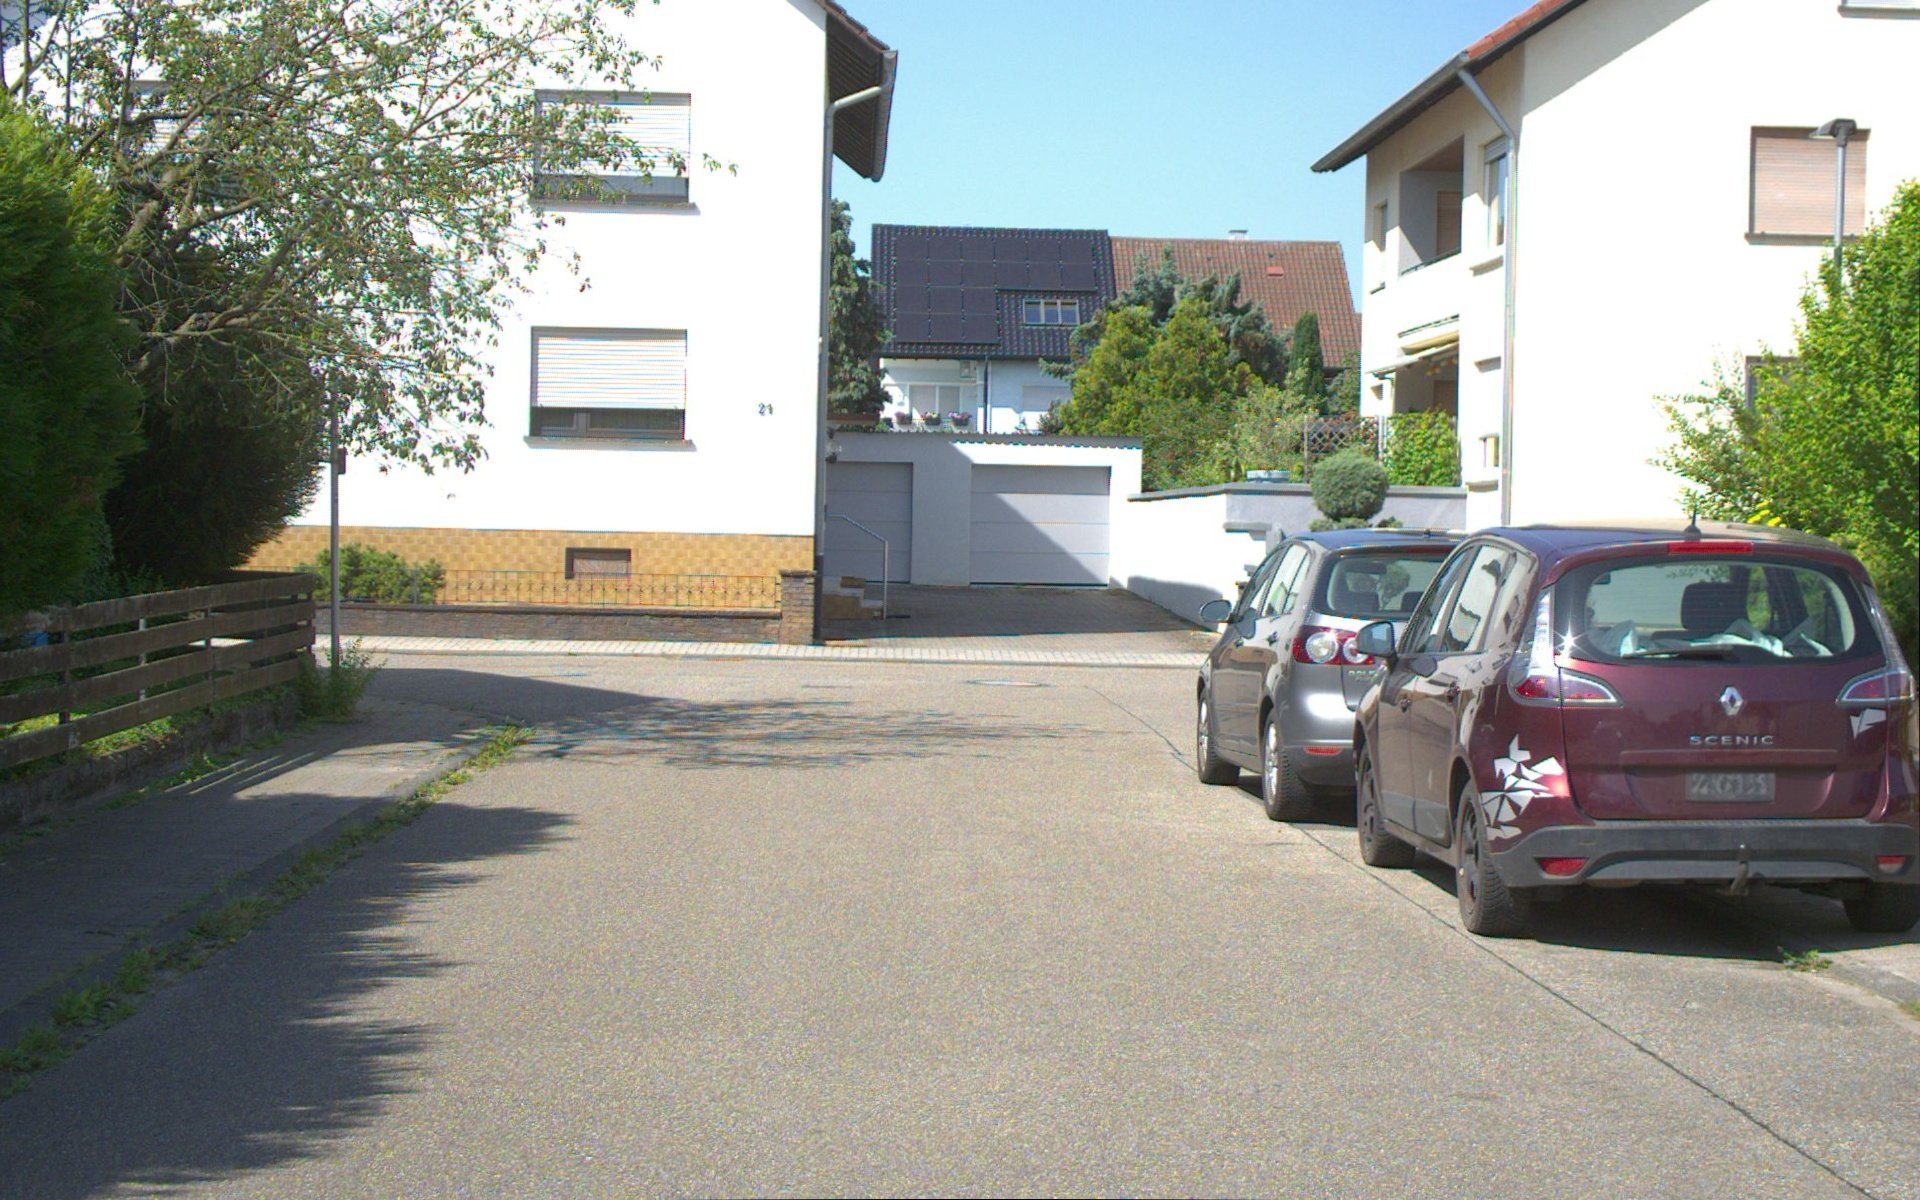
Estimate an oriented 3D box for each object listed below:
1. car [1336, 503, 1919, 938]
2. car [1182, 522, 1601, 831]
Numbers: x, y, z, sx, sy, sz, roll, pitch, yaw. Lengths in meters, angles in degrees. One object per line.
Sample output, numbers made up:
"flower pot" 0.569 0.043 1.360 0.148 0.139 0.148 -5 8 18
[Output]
"car" 2.711 0.388 14.700 1.645 1.576 4.148 1 2 -1
"car" 2.345 0.348 19.629 1.645 1.540 4.048 1 2 -3
